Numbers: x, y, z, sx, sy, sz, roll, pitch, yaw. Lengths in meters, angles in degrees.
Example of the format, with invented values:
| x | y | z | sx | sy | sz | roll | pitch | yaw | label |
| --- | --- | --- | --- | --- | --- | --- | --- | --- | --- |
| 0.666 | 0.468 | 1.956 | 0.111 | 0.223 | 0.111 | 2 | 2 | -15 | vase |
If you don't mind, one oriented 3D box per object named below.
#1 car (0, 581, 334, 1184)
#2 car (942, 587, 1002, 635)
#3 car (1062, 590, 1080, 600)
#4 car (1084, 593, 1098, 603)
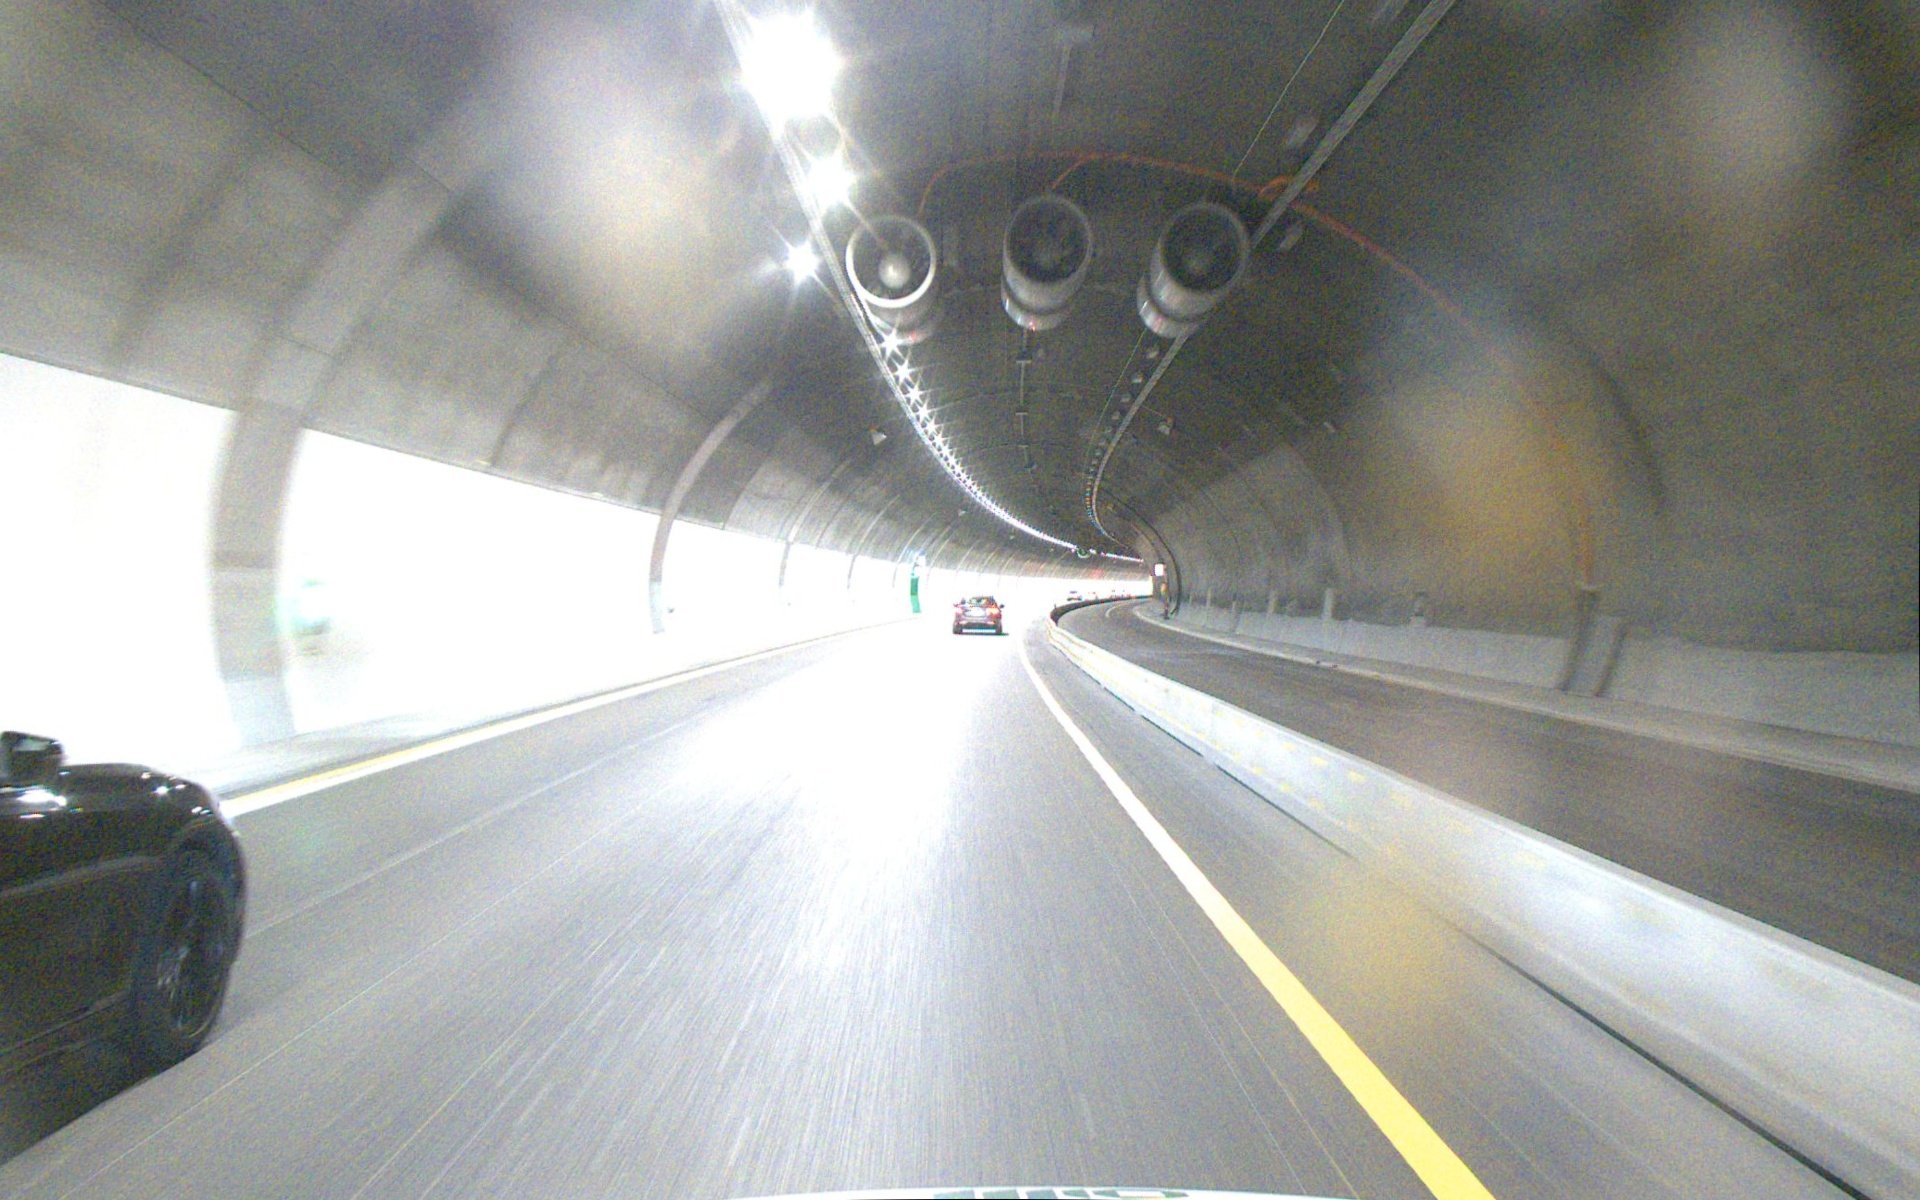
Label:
| x | y | z | sx | sy | sz | roll | pitch | yaw | label |
| --- | --- | --- | --- | --- | --- | --- | --- | --- | --- |
| -3.200 | 0.685 | 3.766 | 1.742 | 1.463 | 4.882 | 1 | 0 | -1 | car |
| 0.485 | 0.376 | 62.291 | 2.096 | 1.735 | 4.002 | 0 | 0 | 3 | car |
| 16.007 | -0.713 | 238.585 | 2.118 | 1.512 | 4.004 | 0 | 1 | 10 | car |
| 18.008 | -0.241 | 227.965 | 1.561 | 1.356 | 3.754 | 0 | 0 | 10 | car |
